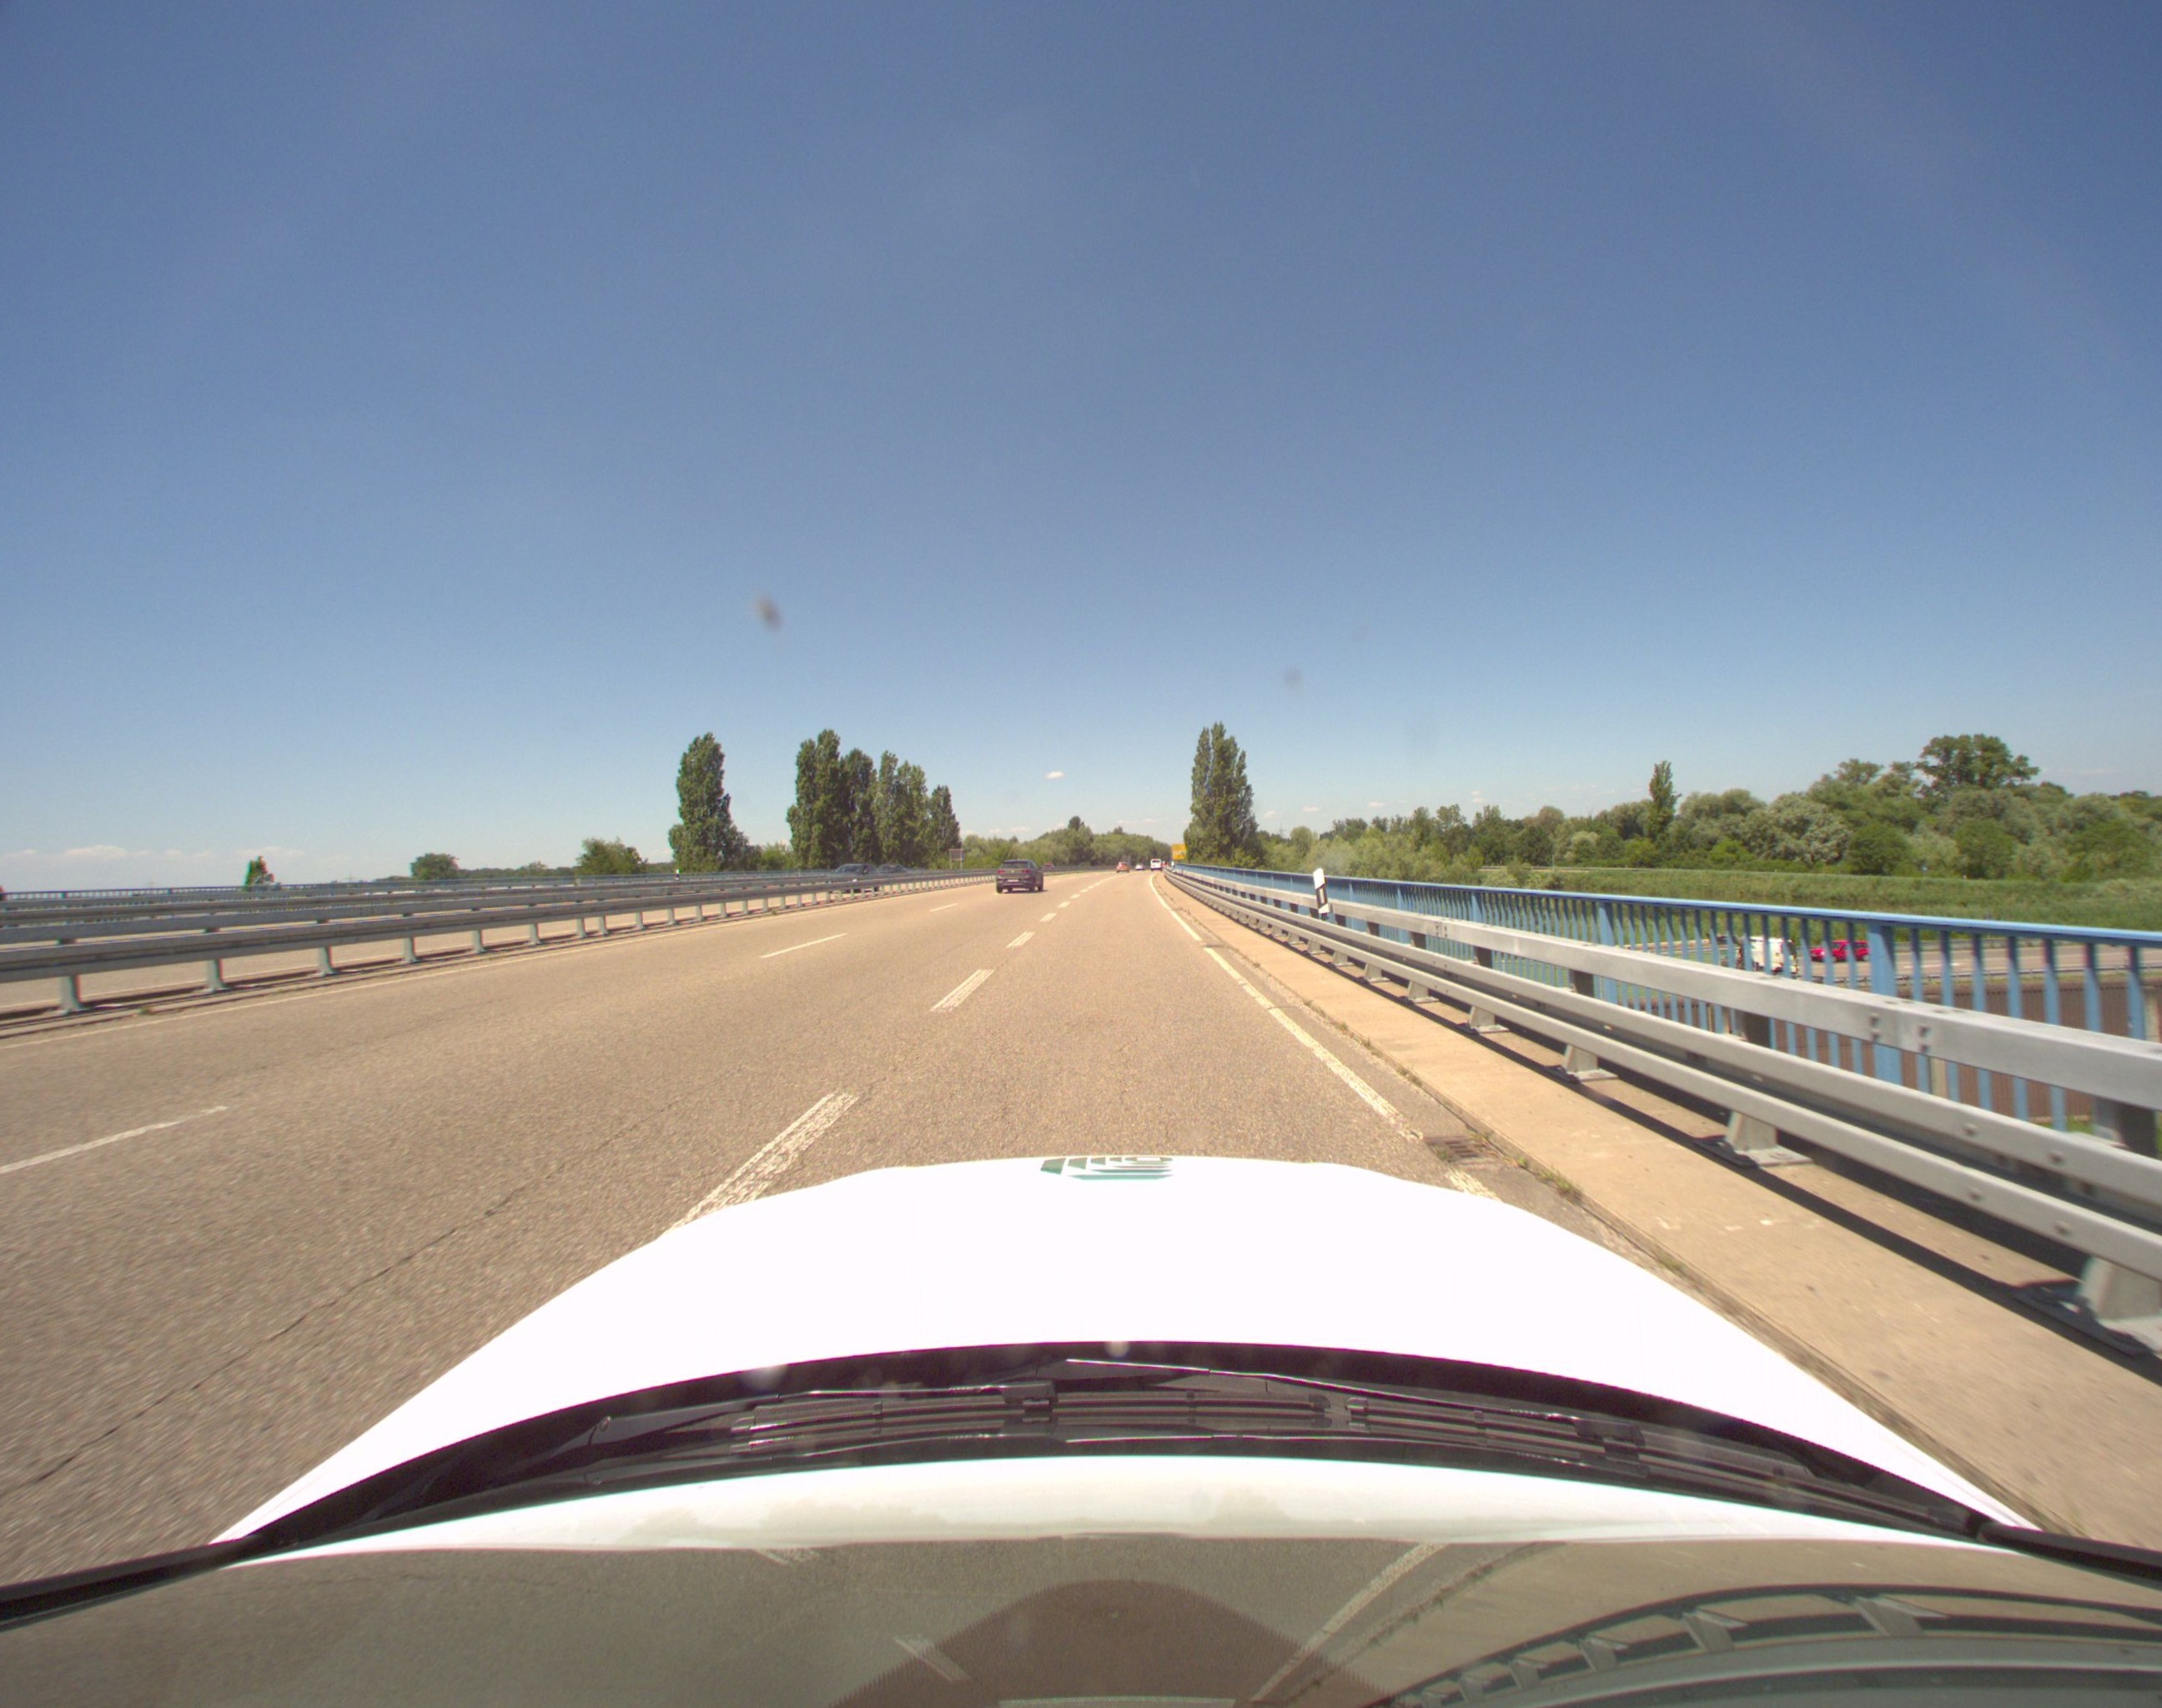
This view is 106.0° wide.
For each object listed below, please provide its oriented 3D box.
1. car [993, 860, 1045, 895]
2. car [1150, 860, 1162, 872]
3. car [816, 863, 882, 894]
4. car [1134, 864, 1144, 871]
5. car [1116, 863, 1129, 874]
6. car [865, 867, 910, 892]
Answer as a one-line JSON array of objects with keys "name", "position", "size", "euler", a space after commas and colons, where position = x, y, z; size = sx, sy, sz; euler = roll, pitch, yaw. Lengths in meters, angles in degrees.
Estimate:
[{"name": "car", "position": [-2.916, 1.082, 39.260], "size": [1.832, 1.530, 4.475], "euler": [-1, 0, 5]}, {"name": "car", "position": [12.672, 2.036, 137.646], "size": [1.832, 1.895, 4.007], "euler": [-1, 0, 6]}, {"name": "car", "position": [-12.099, 1.245, 42.794], "size": [1.897, 1.505, 4.687], "euler": [-1, 0, 2]}, {"name": "car", "position": [12.820, 2.892, 179.268], "size": [1.831, 1.451, 4.009], "euler": [-1, 0, 8]}, {"name": "car", "position": [6.023, 2.053, 117.273], "size": [1.833, 1.464, 4.004], "euler": [-1, 0, 4]}, {"name": "car", "position": [-14.294, 1.870, 60.540], "size": [1.836, 1.668, 5.054], "euler": [-2, -1, 3]}]
